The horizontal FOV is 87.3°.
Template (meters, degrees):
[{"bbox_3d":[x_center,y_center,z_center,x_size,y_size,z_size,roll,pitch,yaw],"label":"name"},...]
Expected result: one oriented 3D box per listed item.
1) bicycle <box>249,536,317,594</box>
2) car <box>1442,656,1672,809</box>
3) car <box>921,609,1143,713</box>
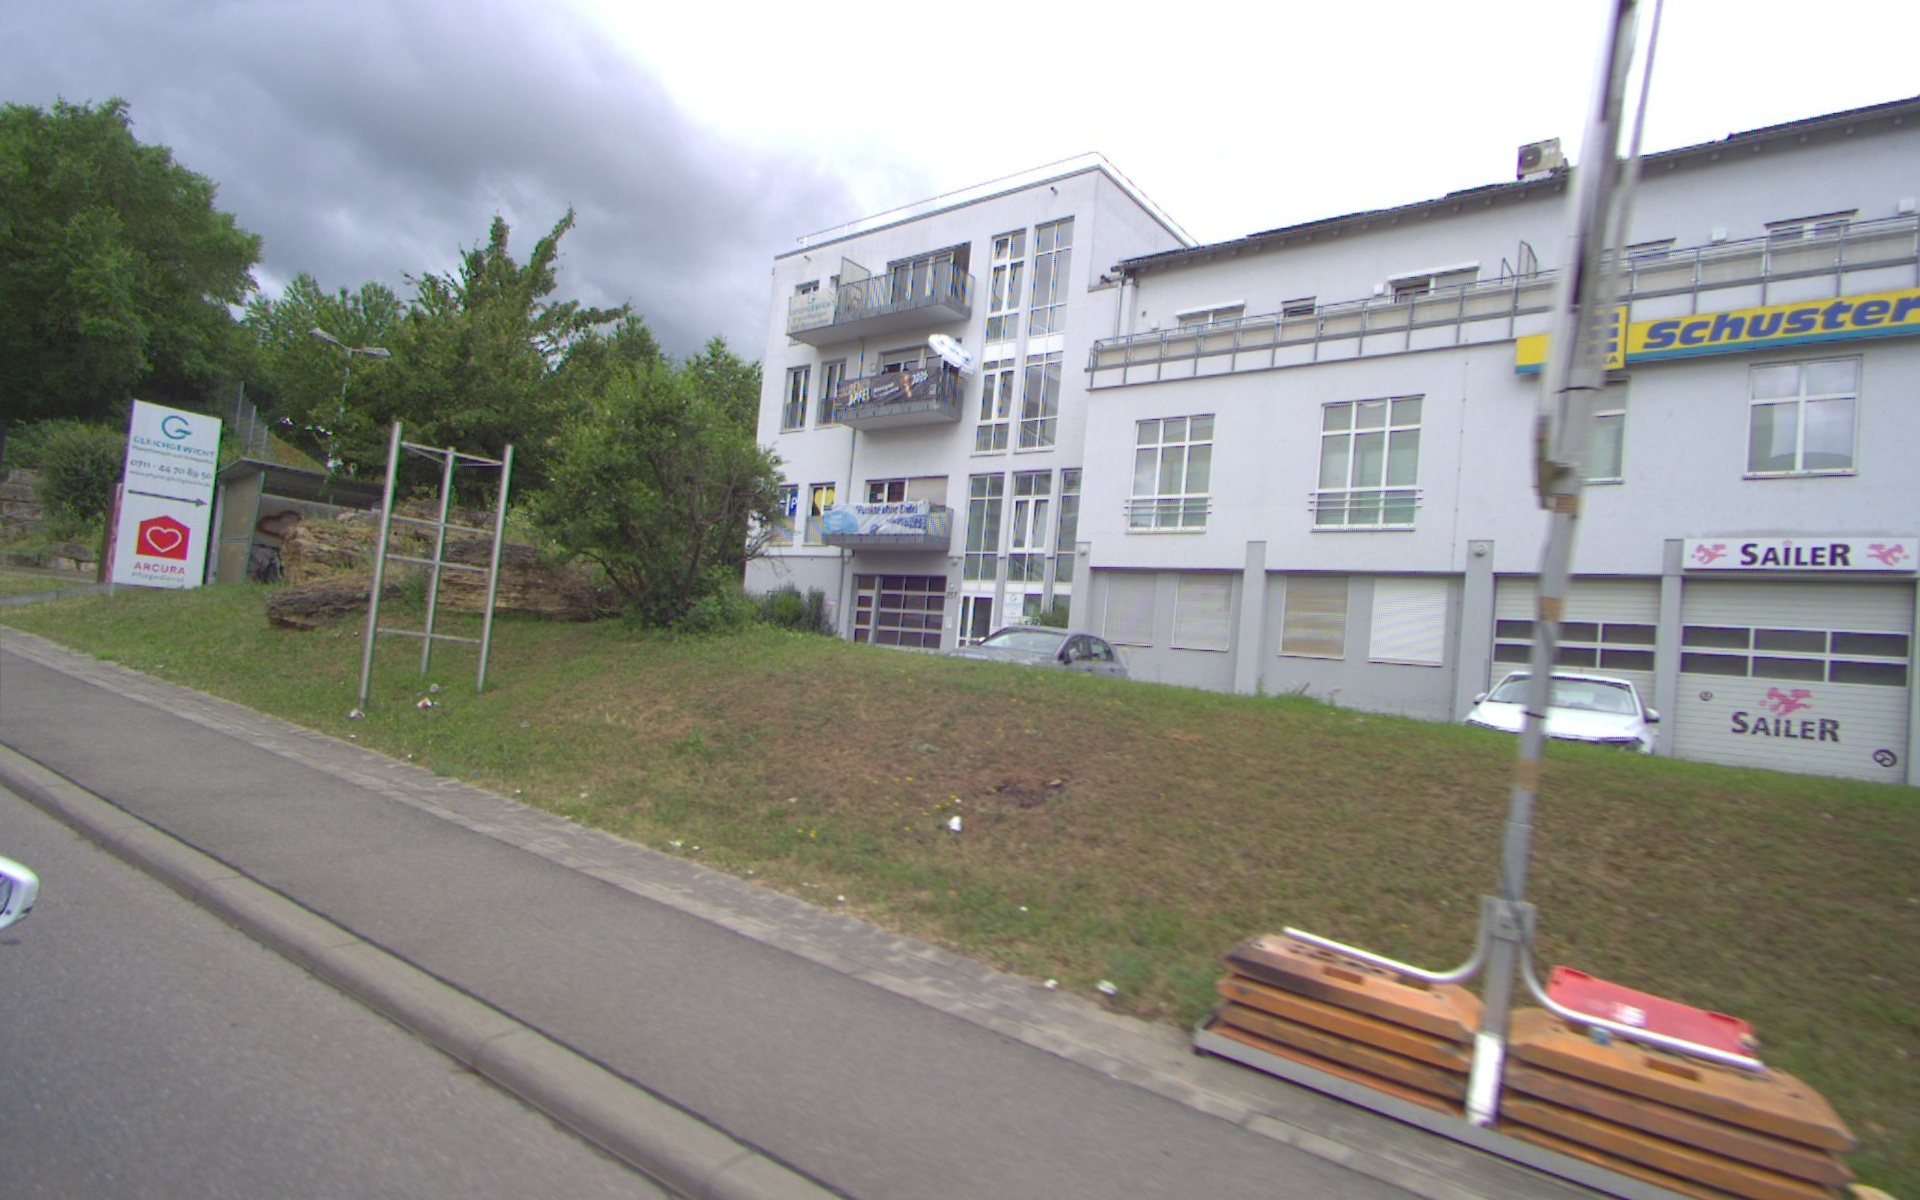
[{"bbox_3d":[-12.029,-0.623,17.858,1.459,0.885,0.491,6,-1,37],"label":"bicycle"},{"bbox_3d":[6.842,1.434,11.331,1.842,1.246,3.875,4,-3,36],"label":"car"},{"bbox_3d":[1.289,1.049,16.366,1.807,1.368,3.876,4,-3,35],"label":"car"}]
